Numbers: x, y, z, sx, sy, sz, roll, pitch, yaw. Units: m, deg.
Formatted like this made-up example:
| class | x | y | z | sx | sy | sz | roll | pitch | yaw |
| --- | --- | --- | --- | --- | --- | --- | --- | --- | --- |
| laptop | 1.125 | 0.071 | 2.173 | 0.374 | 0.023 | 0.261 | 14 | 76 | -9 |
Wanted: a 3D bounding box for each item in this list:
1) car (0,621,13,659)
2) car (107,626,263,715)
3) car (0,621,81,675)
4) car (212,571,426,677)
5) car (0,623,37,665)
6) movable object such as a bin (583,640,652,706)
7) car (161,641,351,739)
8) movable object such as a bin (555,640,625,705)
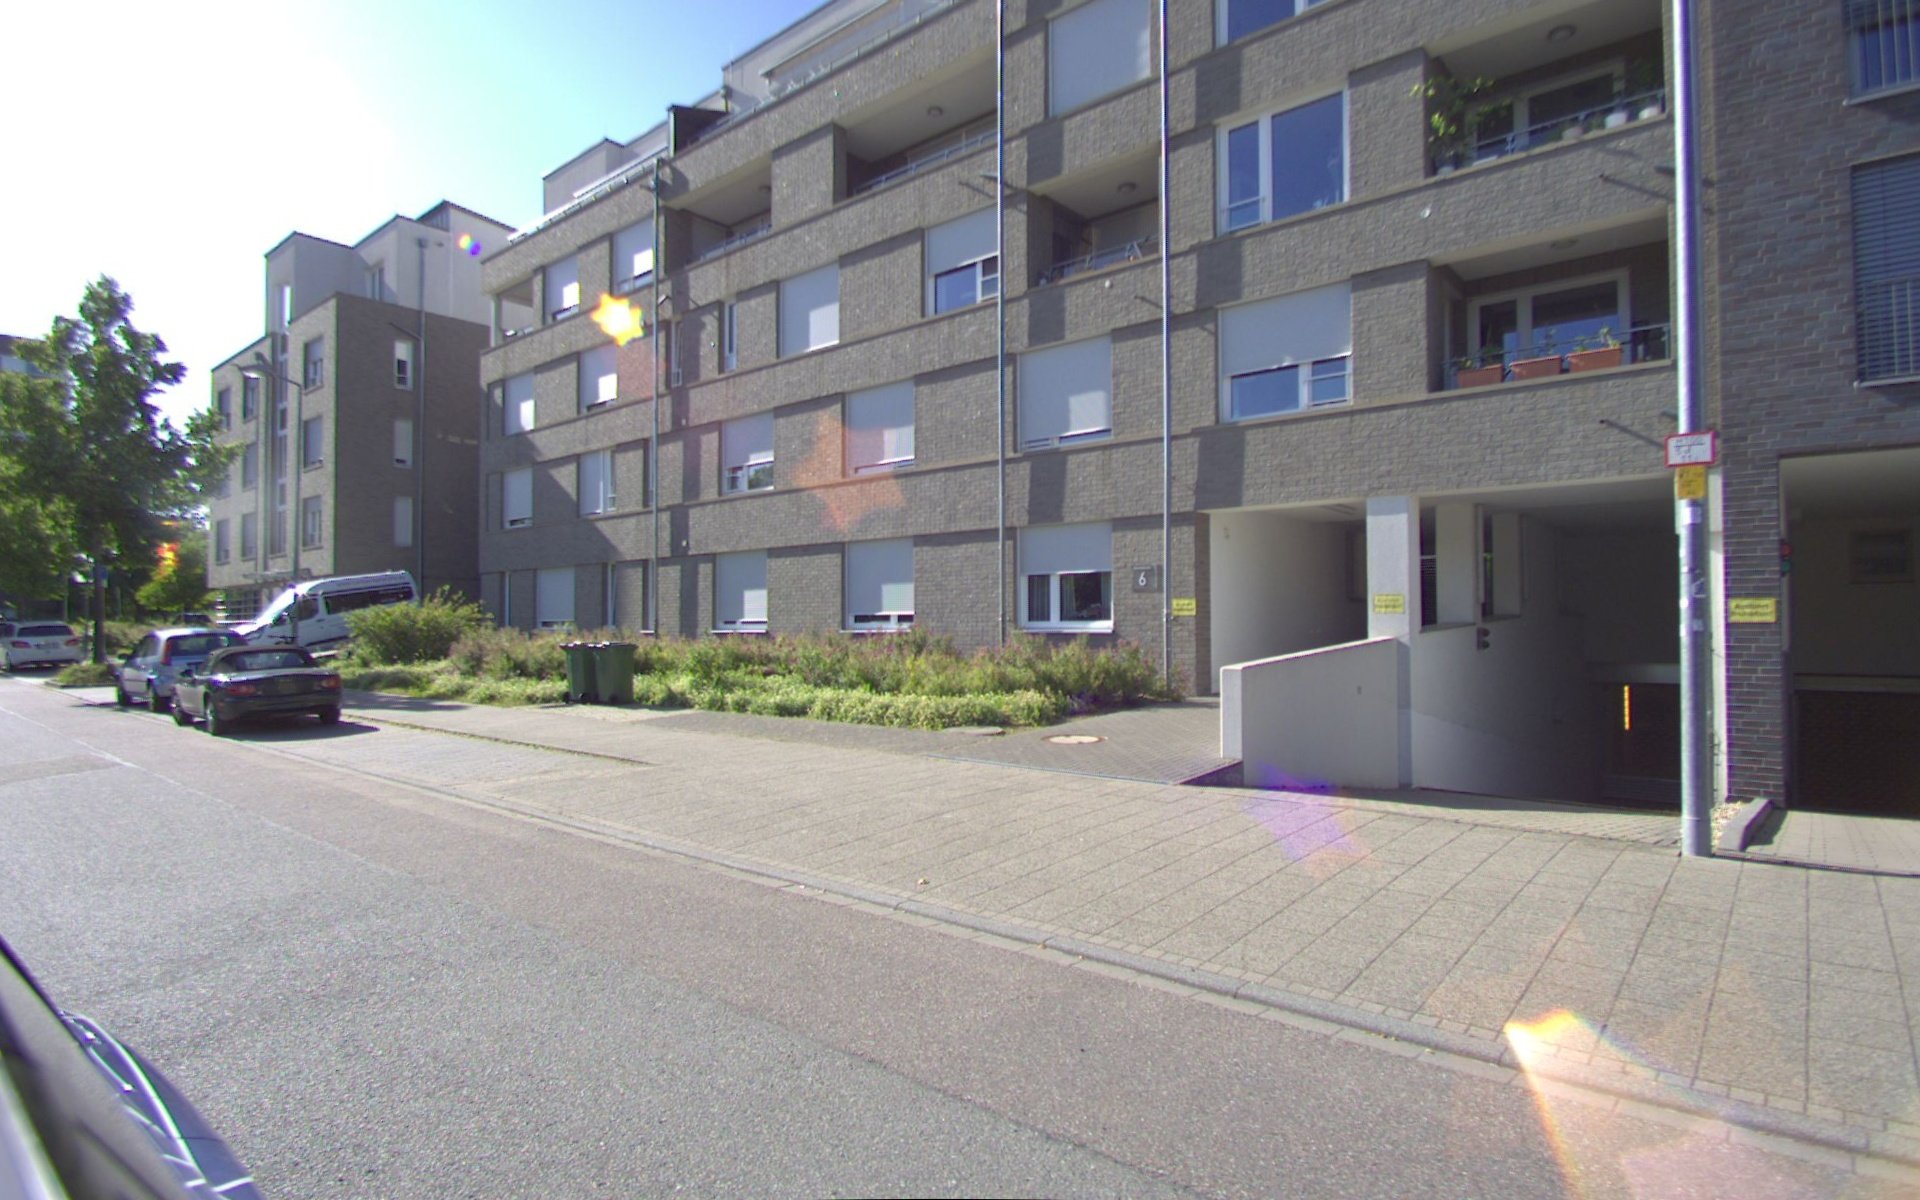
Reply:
| class | x | y | z | sx | sy | sz | roll | pitch | yaw |
| --- | --- | --- | --- | --- | --- | --- | --- | --- | --- |
| car | -40.358 | 1.656 | 41.427 | 3.885 | 1.529 | 1.773 | -2 | -1 | 38 |
| car | -14.734 | 1.269 | 19.187 | 3.560 | 1.536 | 1.610 | -2 | -2 | 40 |
| car | -29.665 | 1.500 | 32.303 | 3.885 | 1.612 | 1.773 | -2 | -1 | 38 |
| car | -19.282 | 0.735 | 30.674 | 2.011 | 2.924 | 5.091 | -2 | -2 | 37 |
| car | -36.276 | 1.651 | 38.011 | 3.885 | 1.529 | 1.773 | -2 | -1 | 38 |
| movable object such as a bin | -5.845 | 1.233 | 17.298 | 0.677 | 1.045 | 0.852 | -2 | 1 | 38 |
| car | -10.866 | 1.296 | 15.536 | 3.561 | 1.257 | 1.610 | -2 | -1 | 42 |
| movable object such as a bin | -6.466 | 1.250 | 17.693 | 0.680 | 1.045 | 0.910 | -2 | 1 | 38 |
